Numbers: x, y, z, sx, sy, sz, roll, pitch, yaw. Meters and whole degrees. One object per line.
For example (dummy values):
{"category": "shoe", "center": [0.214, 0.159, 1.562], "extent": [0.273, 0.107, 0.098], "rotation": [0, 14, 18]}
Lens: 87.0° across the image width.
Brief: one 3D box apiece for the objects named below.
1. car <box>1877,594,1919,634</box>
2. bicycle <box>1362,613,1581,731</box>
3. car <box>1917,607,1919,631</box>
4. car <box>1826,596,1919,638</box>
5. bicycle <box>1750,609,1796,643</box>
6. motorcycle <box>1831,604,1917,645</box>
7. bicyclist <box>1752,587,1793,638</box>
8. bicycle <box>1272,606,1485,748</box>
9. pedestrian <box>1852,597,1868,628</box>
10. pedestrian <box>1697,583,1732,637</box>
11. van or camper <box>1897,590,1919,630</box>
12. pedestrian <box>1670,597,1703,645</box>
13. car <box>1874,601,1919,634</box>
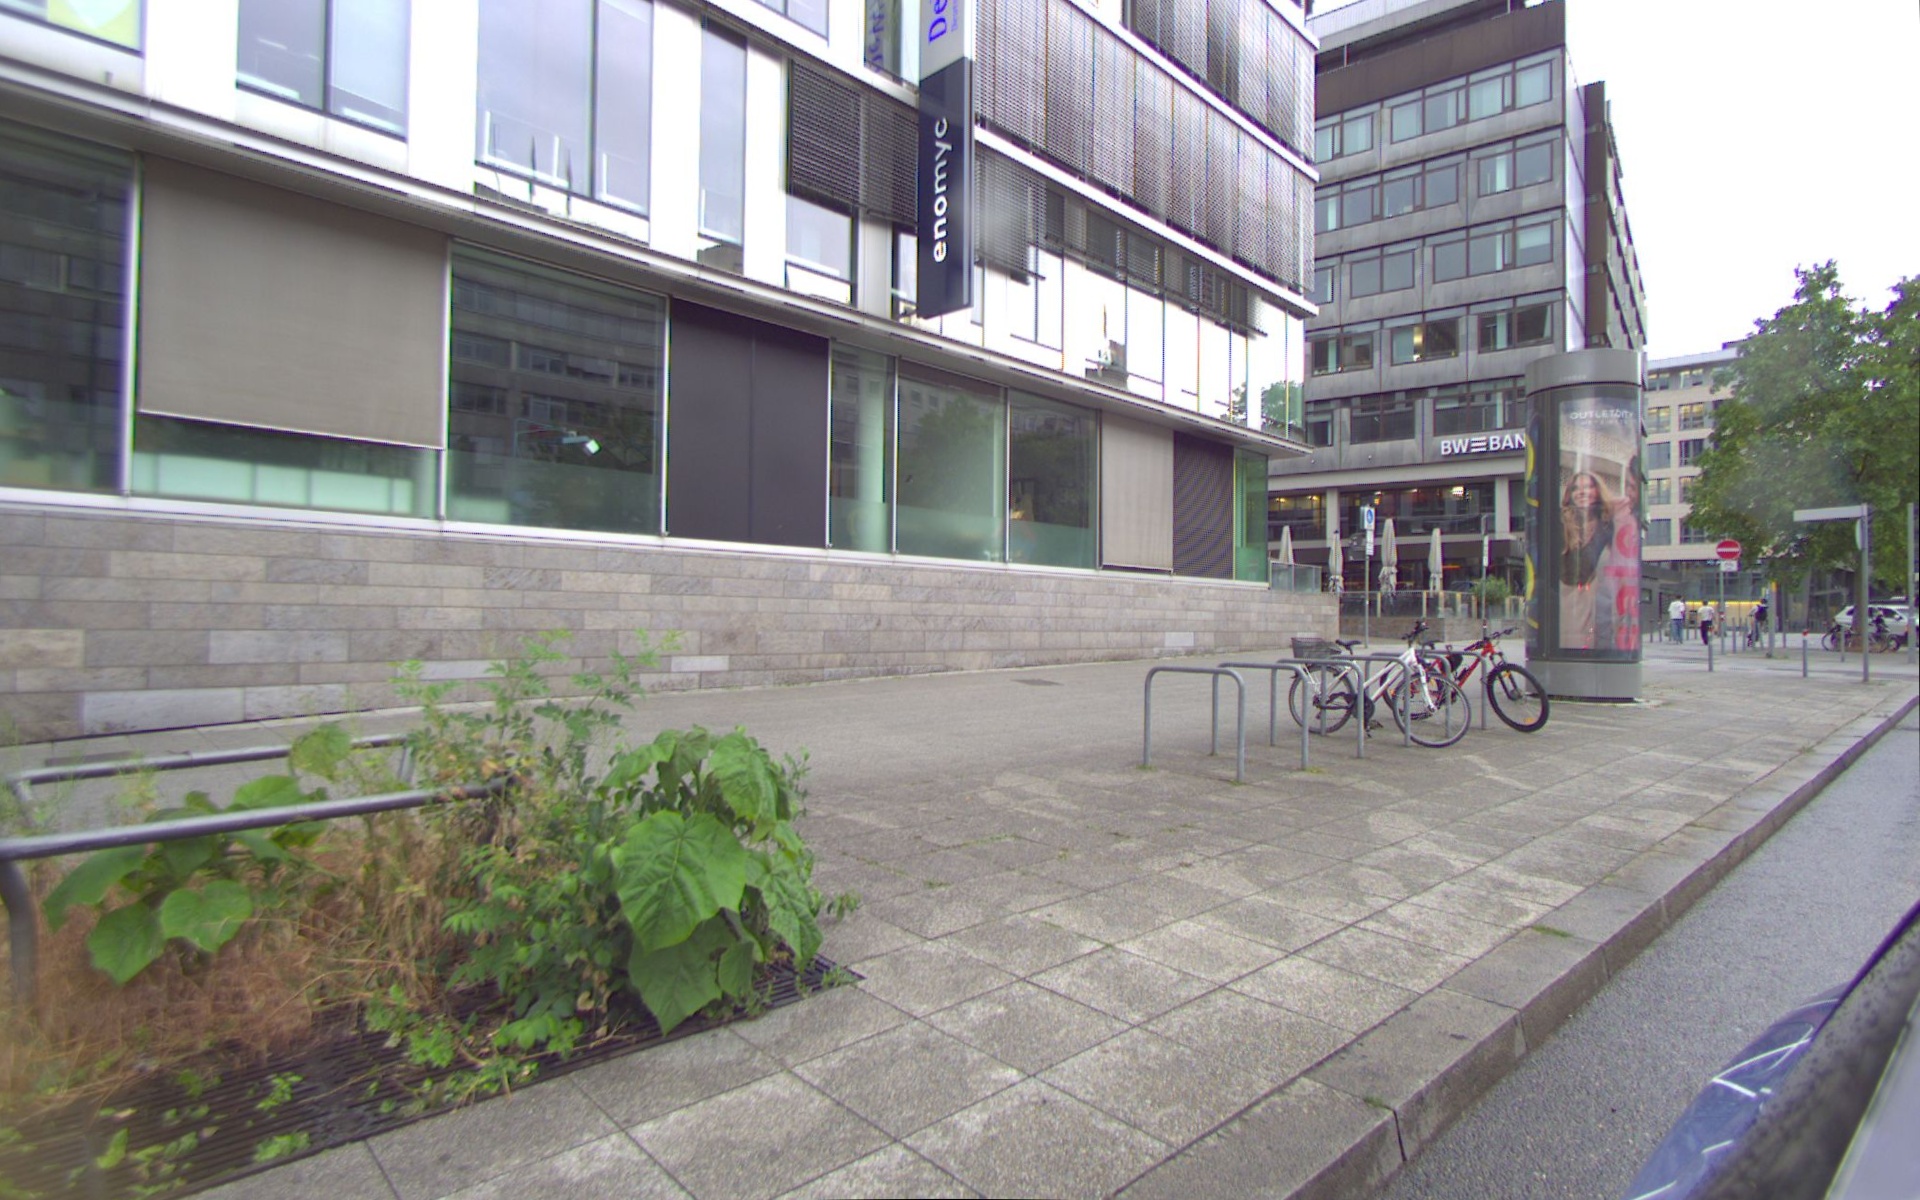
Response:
{"category": "car", "center": [48.776, 0.691, 50.243], "extent": [1.882, 2.018, 4.525], "rotation": [0, -1, -12]}
{"category": "bicycle", "center": [5.496, 0.724, 10.992], "extent": [0.793, 1.118, 1.989], "rotation": [1, 0, -37]}
{"category": "car", "center": [58.709, 1.113, 58.944], "extent": [1.673, 1.442, 4.068], "rotation": [0, -1, -12]}
{"category": "car", "center": [38.710, 0.709, 41.381], "extent": [1.876, 1.671, 4.812], "rotation": [0, -1, -11]}
{"category": "bicycle", "center": [29.582, 0.960, 36.844], "extent": [0.769, 1.154, 1.961], "rotation": [-3, -4, 24]}
{"category": "motorcycle", "center": [31.716, 0.835, 35.133], "extent": [0.664, 1.375, 2.090], "rotation": [1, -2, -34]}
{"category": "bicyclist", "center": [29.562, 0.468, 36.844], "extent": [0.804, 1.772, 1.070], "rotation": [-5, -3, 26]}
{"category": "bicycle", "center": [4.037, 0.688, 9.900], "extent": [0.648, 1.212, 1.841], "rotation": [1, 0, -37]}
{"category": "pedestrian", "center": [55.435, 0.770, 62.334], "extent": [0.719, 1.908, 0.646], "rotation": [-2, -2, 43]}
{"category": "pedestrian", "center": [29.476, 0.398, 39.524], "extent": [0.738, 2.065, 0.852], "rotation": [1, -2, -34]}
{"category": "van or camper", "center": [61.320, 0.583, 61.447], "extent": [2.267, 2.479, 6.276], "rotation": [0, -1, -11]}
{"category": "pedestrian", "center": [28.820, 0.826, 40.167], "extent": [0.881, 1.893, 0.803], "rotation": [1, -2, -36]}
{"category": "car", "center": [46.766, 0.836, 48.232], "extent": [1.876, 1.557, 4.399], "rotation": [0, -1, -14]}
